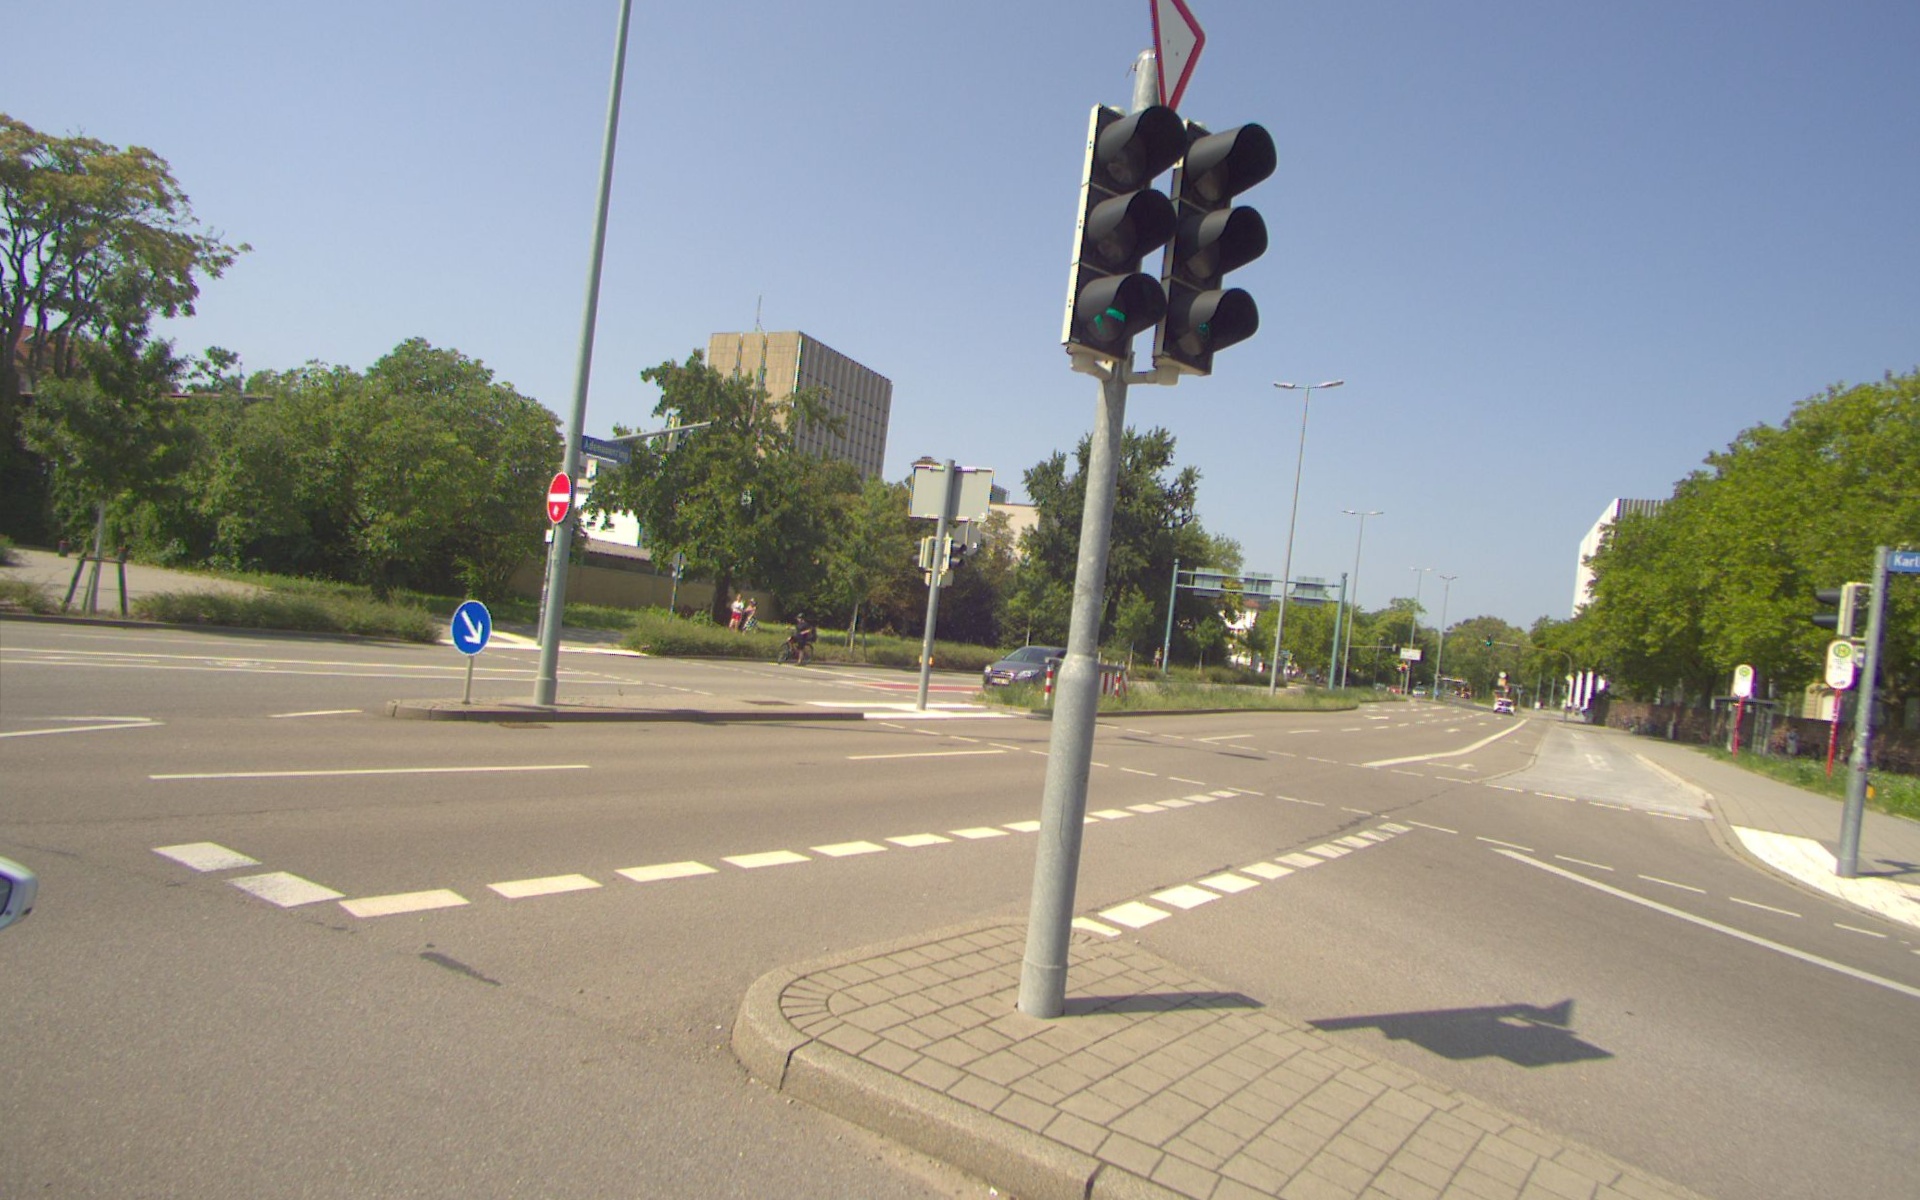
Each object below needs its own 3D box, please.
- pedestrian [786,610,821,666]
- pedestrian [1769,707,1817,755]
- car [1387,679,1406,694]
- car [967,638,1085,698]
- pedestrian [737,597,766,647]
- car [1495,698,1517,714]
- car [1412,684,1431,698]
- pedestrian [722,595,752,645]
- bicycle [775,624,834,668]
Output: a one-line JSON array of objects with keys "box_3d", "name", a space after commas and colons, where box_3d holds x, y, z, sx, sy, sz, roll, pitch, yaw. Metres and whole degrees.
[{"box_3d": [-5.001, 1.222, 32.146, 0.768, 1.689, 0.548, 7, 0, 33], "name": "pedestrian"}, {"box_3d": [39.599, 6.200, 47.842, 1.052, 2.038, 1.235, 7, 0, 9], "name": "pedestrian"}, {"box_3d": [64.413, 12.775, 148.422, 2.048, 1.940, 4.191, 6, -1, 28], "name": "car"}, {"box_3d": [1.857, 1.877, 27.475, 1.762, 1.373, 3.418, 4, -2, 31], "name": "car"}, {"box_3d": [-7.807, 0.832, 37.708, 0.683, 1.793, 0.586, 7, 0, 33], "name": "pedestrian"}, {"box_3d": [50.515, 9.798, 93.027, 1.564, 1.150, 3.257, 7, -1, 32], "name": "car"}, {"box_3d": [67.163, 13.276, 146.350, 1.967, 1.698, 3.993, 6, -2, 32], "name": "car"}, {"box_3d": [-8.433, 0.756, 38.062, 0.683, 1.793, 0.586, 7, 0, 33], "name": "pedestrian"}, {"box_3d": [-4.962, 1.486, 32.252, 0.773, 1.227, 1.786, 6, -1, 32], "name": "bicycle"}]
